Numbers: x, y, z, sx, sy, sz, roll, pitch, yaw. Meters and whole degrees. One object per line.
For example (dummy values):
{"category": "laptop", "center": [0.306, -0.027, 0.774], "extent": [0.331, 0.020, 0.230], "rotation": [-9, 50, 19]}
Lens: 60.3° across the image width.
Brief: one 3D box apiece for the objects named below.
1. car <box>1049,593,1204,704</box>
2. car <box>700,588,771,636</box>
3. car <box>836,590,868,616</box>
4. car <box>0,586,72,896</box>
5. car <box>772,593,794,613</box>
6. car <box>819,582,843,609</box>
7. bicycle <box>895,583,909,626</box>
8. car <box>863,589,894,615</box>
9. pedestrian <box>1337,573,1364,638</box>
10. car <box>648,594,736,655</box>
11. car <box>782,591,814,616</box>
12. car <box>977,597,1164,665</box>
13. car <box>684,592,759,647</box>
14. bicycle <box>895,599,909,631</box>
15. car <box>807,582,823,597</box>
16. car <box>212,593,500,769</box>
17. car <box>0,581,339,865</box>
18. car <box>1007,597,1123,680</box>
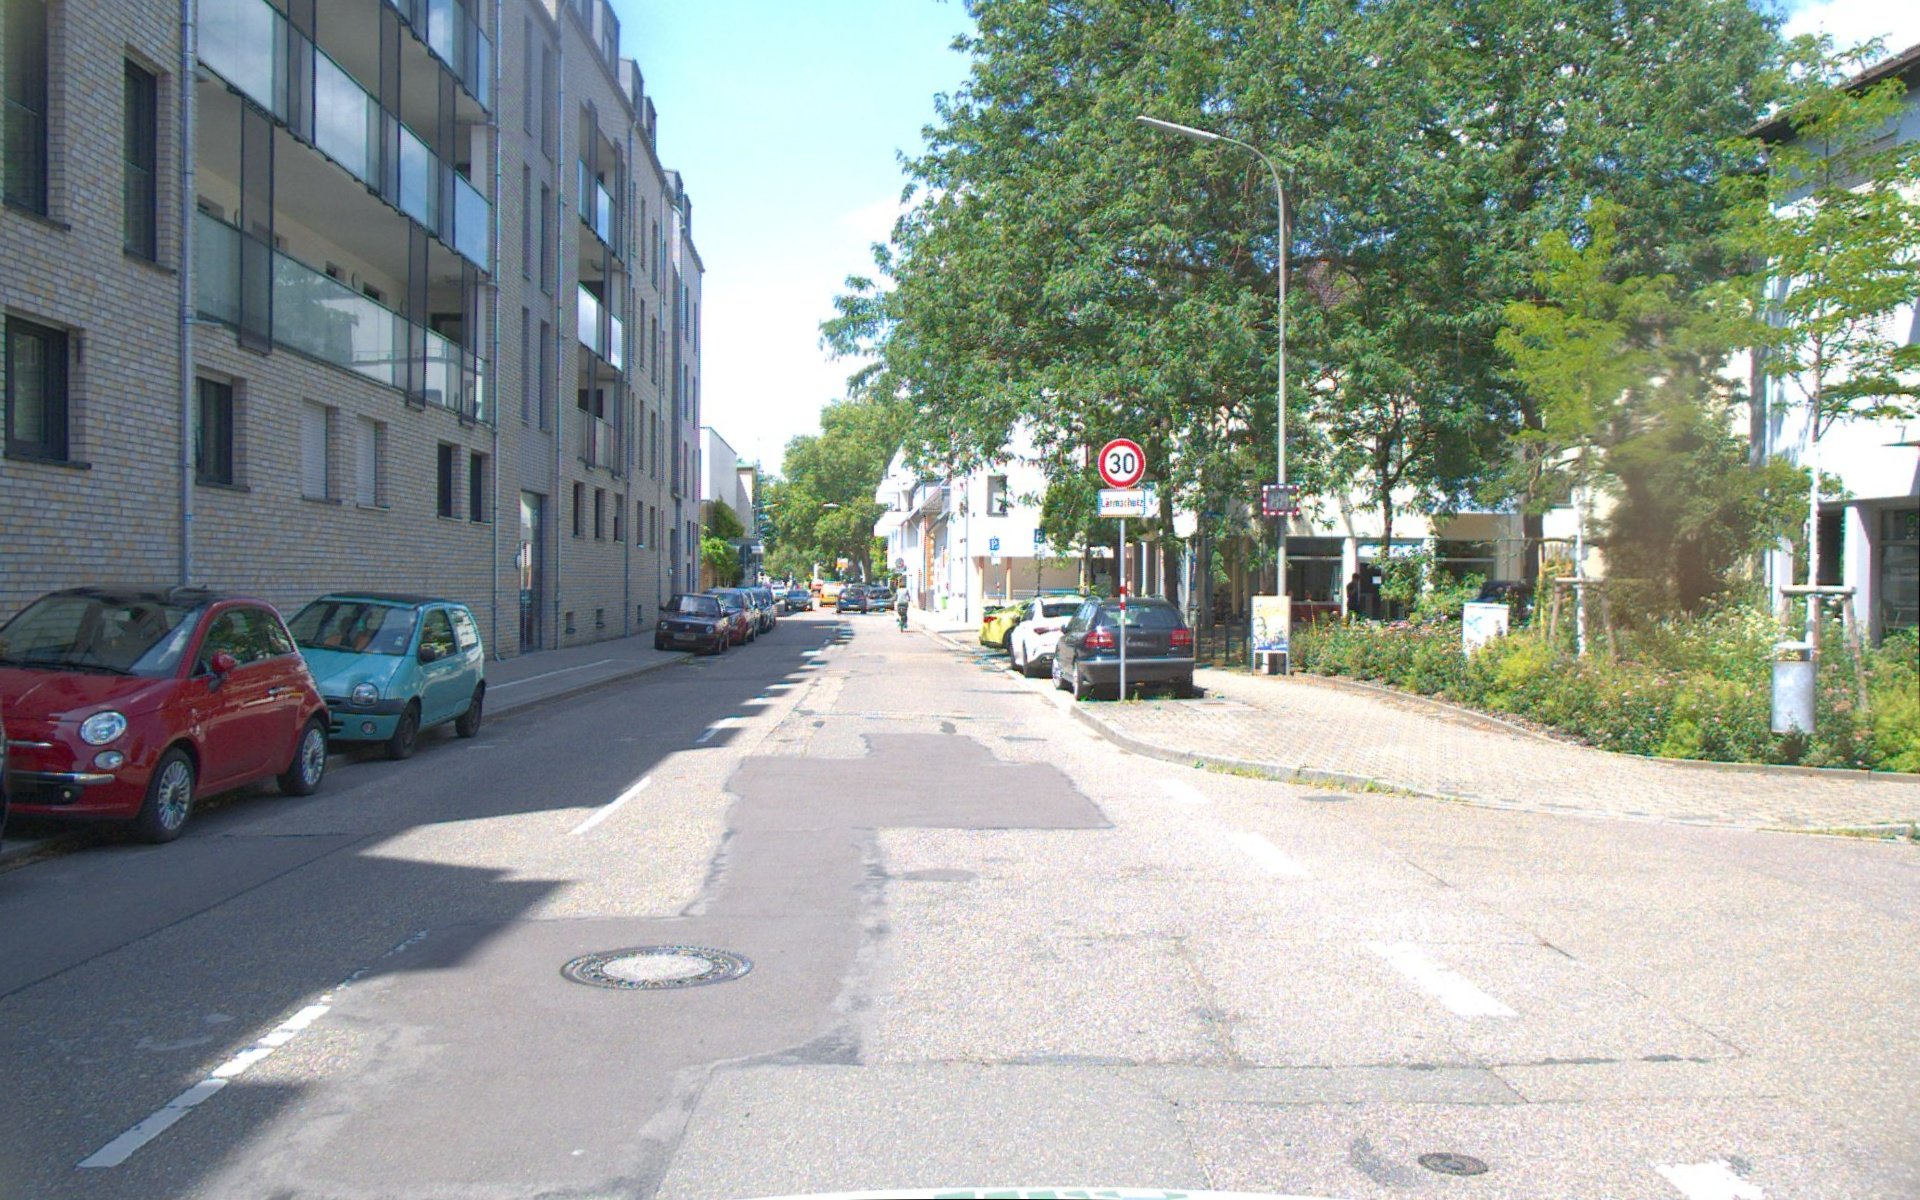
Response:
{"category": "car", "center": [2.389, 0.656, 24.584], "extent": [1.658, 1.445, 3.998], "rotation": [-2, 0, -3]}
{"category": "car", "center": [-7.251, 0.355, 53.726], "extent": [1.790, 1.445, 3.999], "rotation": [2, 0, -1]}
{"category": "car", "center": [-6.194, 0.169, 95.324], "extent": [1.681, 1.426, 3.999], "rotation": [0, 1, -2]}
{"category": "car", "center": [-5.417, 0.658, 6.505], "extent": [1.688, 1.481, 4.004], "rotation": [2, 0, -1]}
{"category": "car", "center": [-18.176, 0.292, 170.009], "extent": [1.954, 2.049, 3.998], "rotation": [0, 0, -3]}
{"category": "car", "center": [-9.828, -0.350, 126.230], "extent": [1.803, 2.049, 3.996], "rotation": [0, 1, -5]}
{"category": "bicycle", "center": [-2.084, 0.165, 59.467], "extent": [0.468, 1.516, 0.576], "rotation": [0, 0, -3]}
{"category": "car", "center": [-5.295, 0.109, 106.977], "extent": [1.954, 1.646, 3.997], "rotation": [1, 0, -4]}
{"category": "pedestrian", "center": [11.338, 0.155, 47.995], "extent": [0.585, 1.891, 0.602], "rotation": [0, 0, 35]}
{"category": "car", "center": [-6.665, 0.580, 41.490], "extent": [1.698, 1.467, 3.998], "rotation": [0, 0, -3]}
{"category": "car", "center": [-10.557, 0.210, 108.025], "extent": [1.954, 1.545, 3.997], "rotation": [0, 1, -4]}
{"category": "car", "center": [2.689, 0.722, 39.619], "extent": [4.285, 1.405, 2.002], "rotation": [2, 0, 8]}
{"category": "car", "center": [-6.661, 0.525, 46.536], "extent": [1.698, 1.467, 3.998], "rotation": [0, 0, -3]}
{"category": "bicycle", "center": [-2.077, 0.530, 59.450], "extent": [0.473, 1.134, 1.195], "rotation": [0, 0, -3]}
{"category": "car", "center": [-20.683, -1.495, 235.978], "extent": [2.115, 2.049, 3.995], "rotation": [0, 0, -6]}
{"category": "car", "center": [-5.783, 0.700, 16.280], "extent": [1.559, 1.481, 3.701], "rotation": [2, 0, -2]}
{"category": "car", "center": [-5.550, 0.679, 11.040], "extent": [1.559, 1.581, 3.569], "rotation": [1, 0, -3]}
{"category": "car", "center": [1.920, 0.680, 31.252], "extent": [1.743, 1.445, 3.998], "rotation": [0, 0, -3]}
